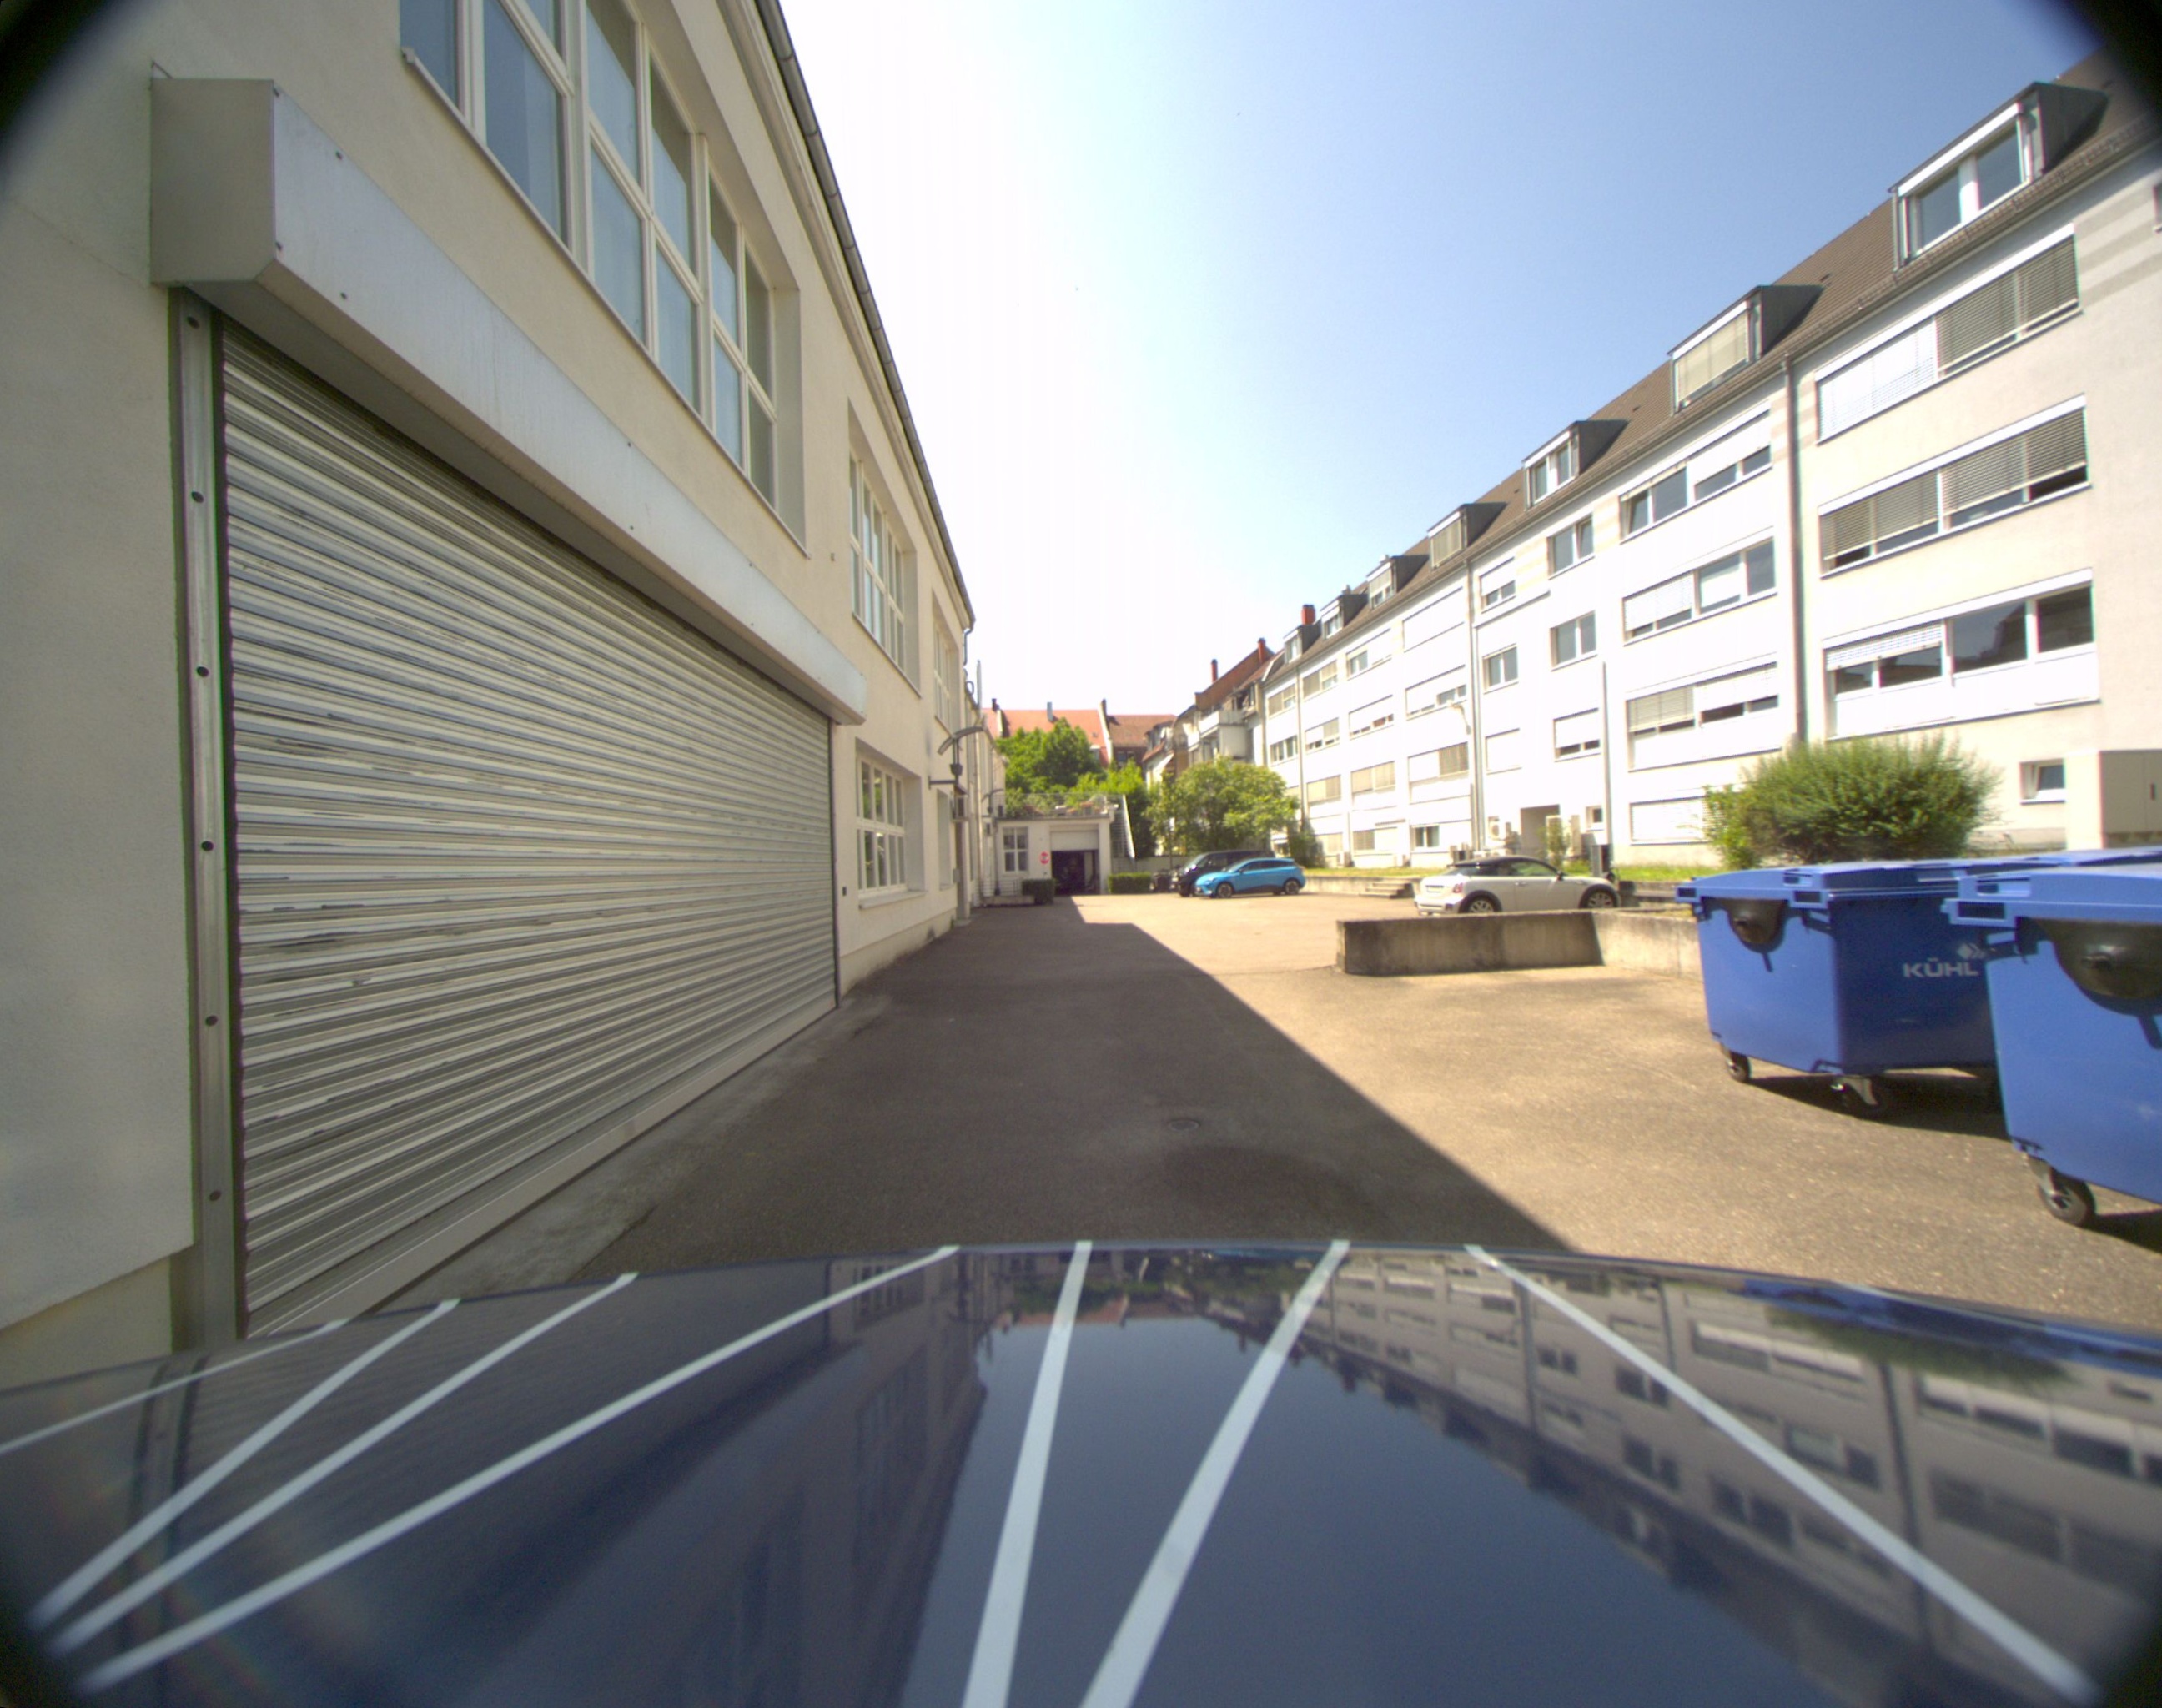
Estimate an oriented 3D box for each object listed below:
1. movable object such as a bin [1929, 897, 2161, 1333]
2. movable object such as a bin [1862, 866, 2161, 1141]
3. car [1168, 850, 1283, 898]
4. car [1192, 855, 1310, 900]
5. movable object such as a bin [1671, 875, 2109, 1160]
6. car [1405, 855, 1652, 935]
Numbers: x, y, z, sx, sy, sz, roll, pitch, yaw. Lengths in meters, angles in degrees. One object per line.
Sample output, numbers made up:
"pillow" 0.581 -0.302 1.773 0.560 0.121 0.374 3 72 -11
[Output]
"movable object such as a bin" 4.038 0.839 2.488 1.257 1.320 1.104 -2 0 -2
"movable object such as a bin" 5.716 0.759 4.376 1.257 1.320 1.104 -2 0 -2
"car" 6.206 0.824 32.920 4.450 1.821 1.999 -2 0 -5
"car" 6.706 0.917 30.233 4.169 1.544 1.858 -2 0 -7
"movable object such as a bin" 4.406 0.813 4.283 1.257 1.320 1.104 -2 0 -2
"car" 8.842 0.775 15.192 3.999 1.428 1.710 -1 0 -6
